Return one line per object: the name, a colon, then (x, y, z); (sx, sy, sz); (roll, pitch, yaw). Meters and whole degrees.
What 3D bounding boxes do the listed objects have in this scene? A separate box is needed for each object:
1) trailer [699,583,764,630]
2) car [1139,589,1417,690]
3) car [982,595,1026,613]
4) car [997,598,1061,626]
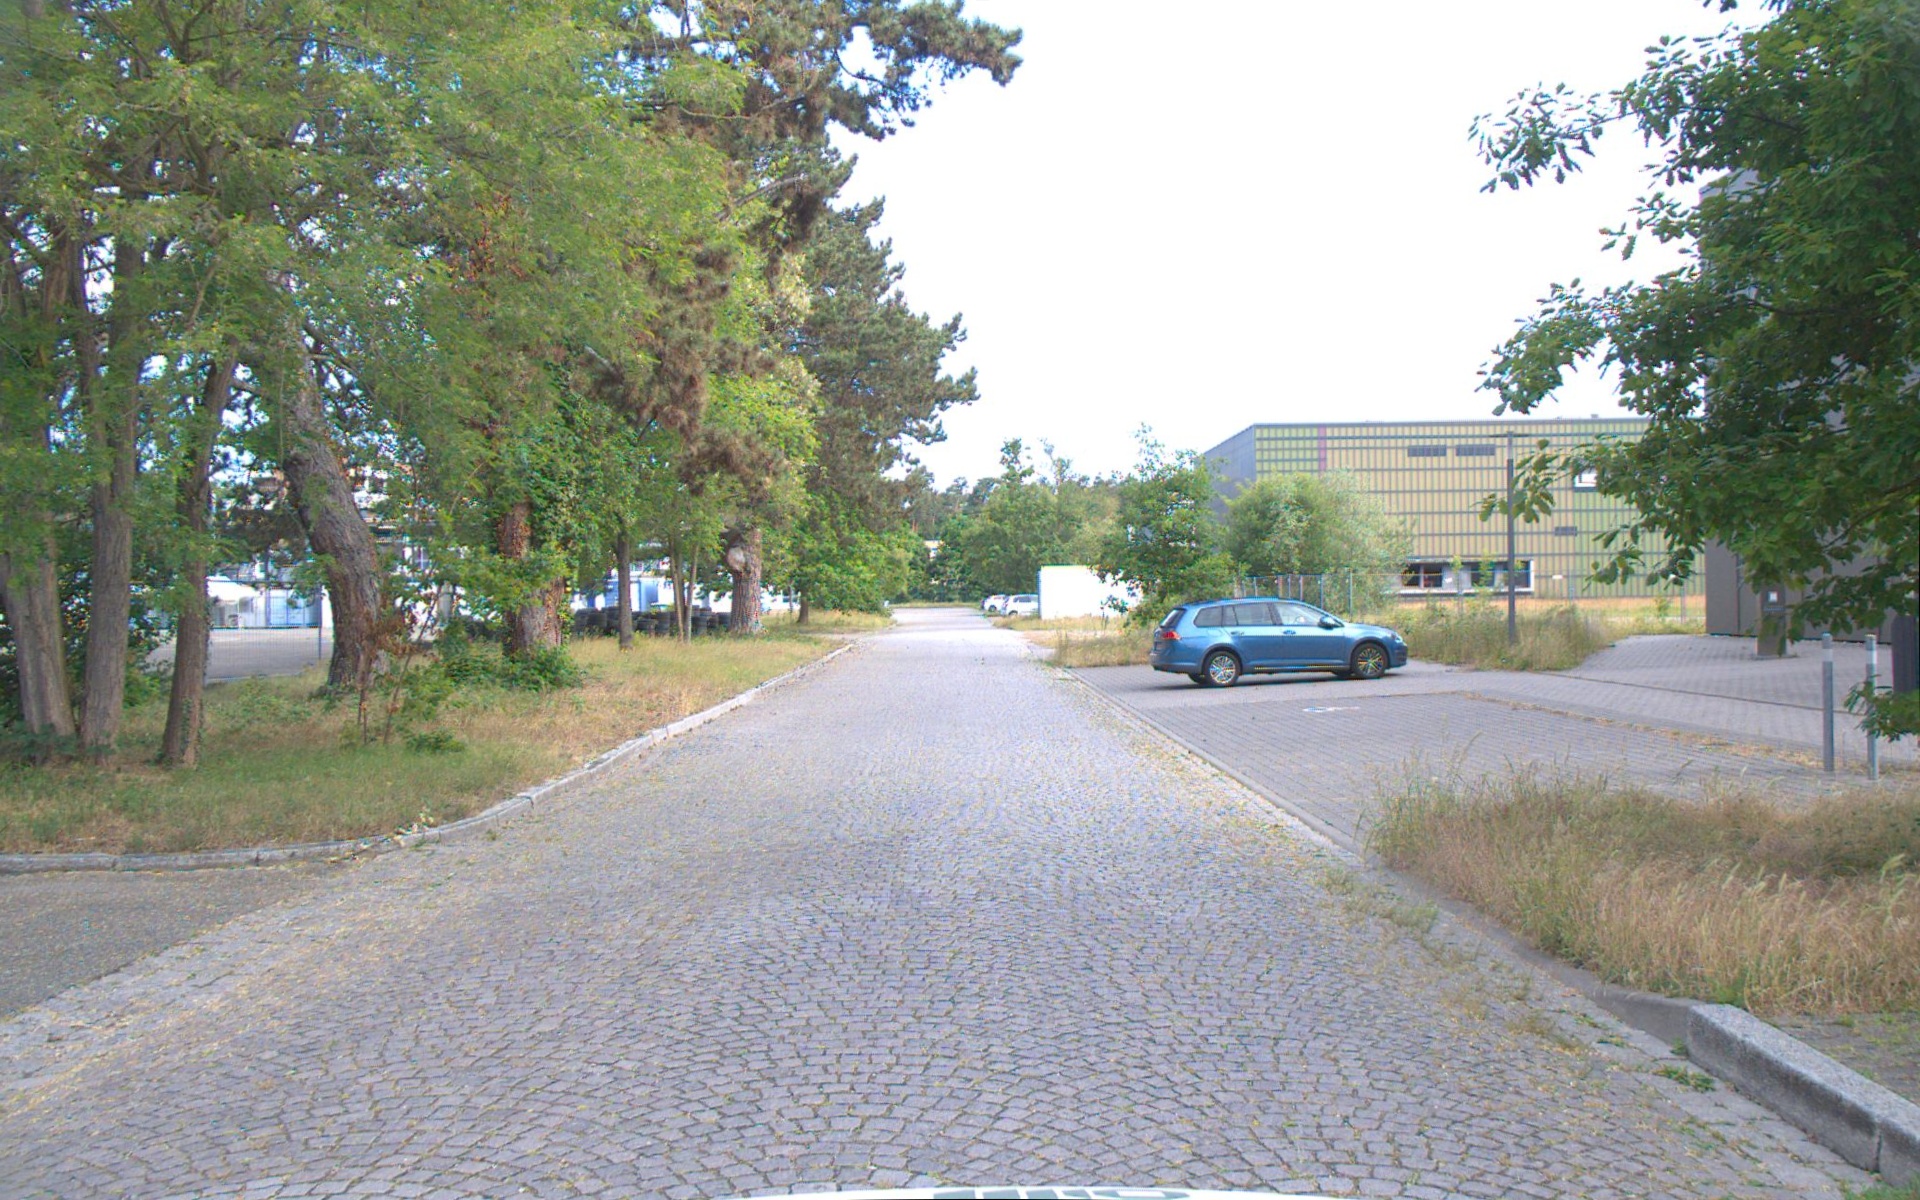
trailer: (-15.797, 0.423, 115.013); (3.093, 3.121, 8.785); (-1, 0, 1)
car: (5.537, 0.671, 29.129); (4.433, 1.468, 1.822); (-3, 0, -4)
car: (3.961, 0.318, 148.794); (3.942, 1.528, 1.548); (-1, 0, 0)
car: (4.278, 0.741, 102.646); (3.773, 1.683, 1.685); (-1, 0, -4)
